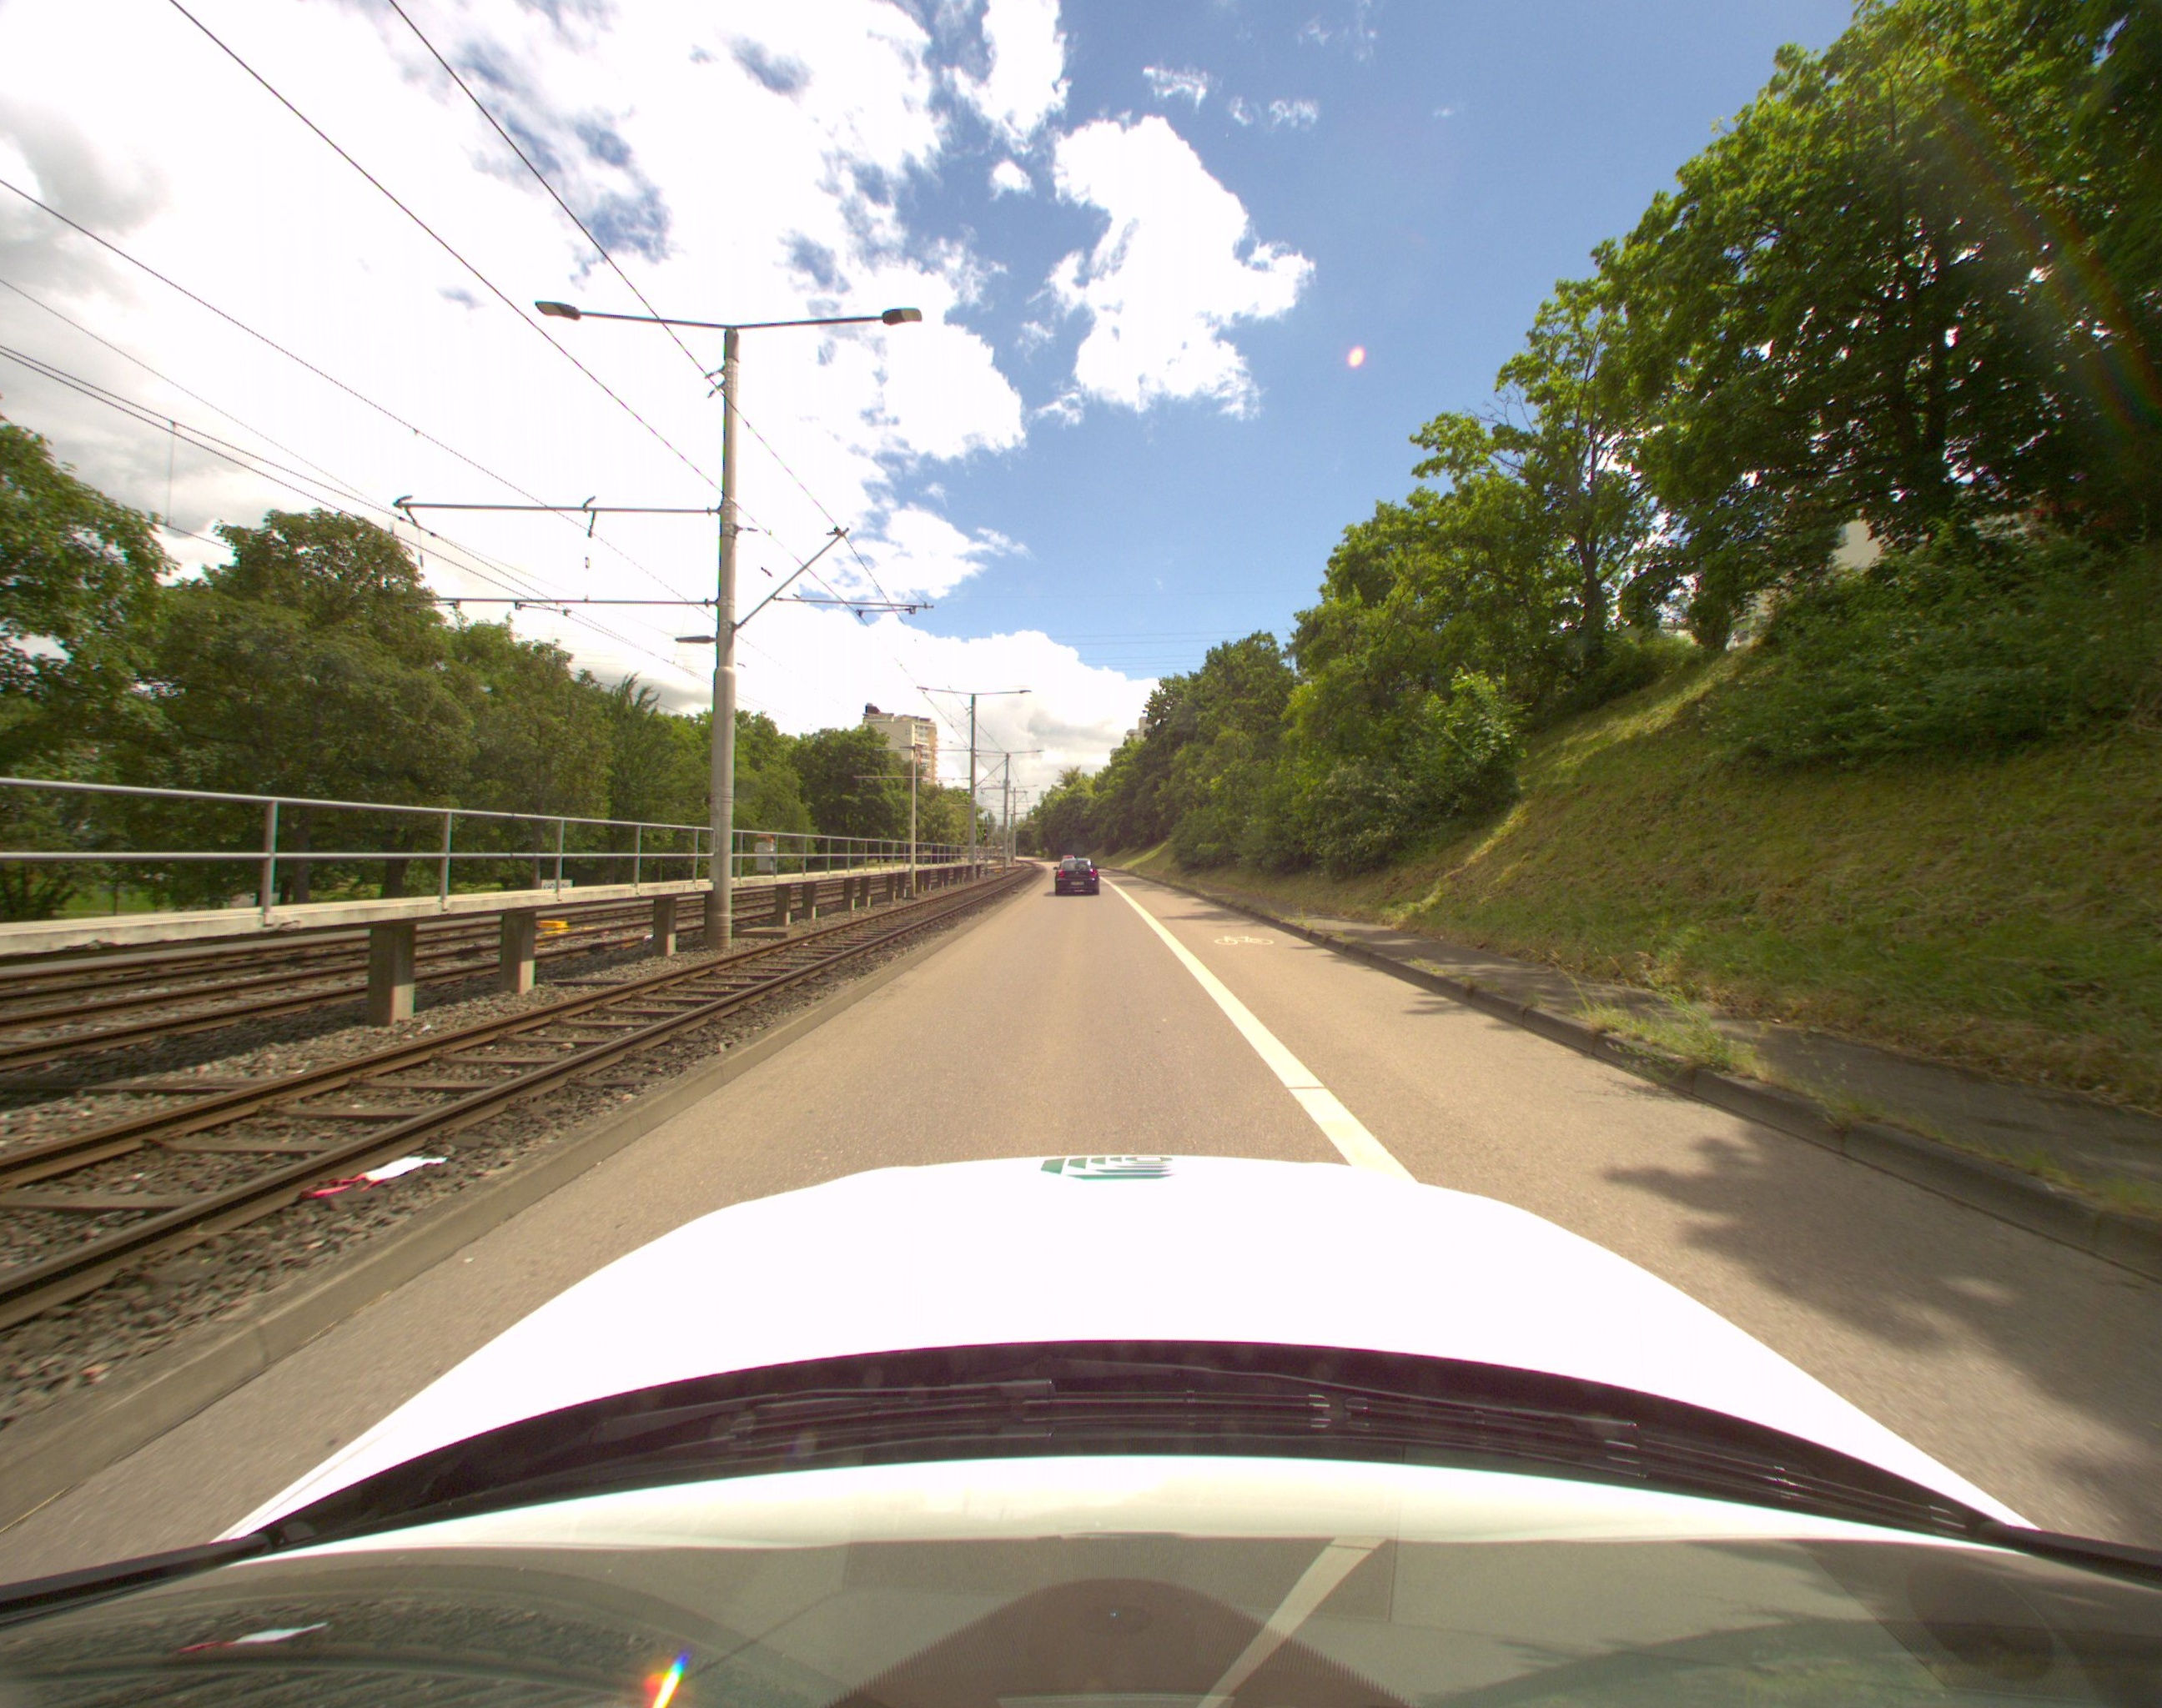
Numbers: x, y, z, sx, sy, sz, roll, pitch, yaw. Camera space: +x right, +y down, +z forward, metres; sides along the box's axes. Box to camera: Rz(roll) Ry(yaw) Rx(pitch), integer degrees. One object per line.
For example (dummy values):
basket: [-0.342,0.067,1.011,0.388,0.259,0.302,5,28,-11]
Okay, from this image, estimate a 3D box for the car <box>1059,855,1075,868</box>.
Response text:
car: [-1.607,0.836,93.353,1.776,1.459,3.919,0,0,-1]

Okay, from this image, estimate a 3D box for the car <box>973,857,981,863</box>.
car: [-25.744,1.473,201.366,1.774,1.498,3.985,0,0,-9]

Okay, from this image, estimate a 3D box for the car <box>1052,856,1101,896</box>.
car: [-0.172,0.813,32.352,1.776,1.459,3.920,-1,0,0]
